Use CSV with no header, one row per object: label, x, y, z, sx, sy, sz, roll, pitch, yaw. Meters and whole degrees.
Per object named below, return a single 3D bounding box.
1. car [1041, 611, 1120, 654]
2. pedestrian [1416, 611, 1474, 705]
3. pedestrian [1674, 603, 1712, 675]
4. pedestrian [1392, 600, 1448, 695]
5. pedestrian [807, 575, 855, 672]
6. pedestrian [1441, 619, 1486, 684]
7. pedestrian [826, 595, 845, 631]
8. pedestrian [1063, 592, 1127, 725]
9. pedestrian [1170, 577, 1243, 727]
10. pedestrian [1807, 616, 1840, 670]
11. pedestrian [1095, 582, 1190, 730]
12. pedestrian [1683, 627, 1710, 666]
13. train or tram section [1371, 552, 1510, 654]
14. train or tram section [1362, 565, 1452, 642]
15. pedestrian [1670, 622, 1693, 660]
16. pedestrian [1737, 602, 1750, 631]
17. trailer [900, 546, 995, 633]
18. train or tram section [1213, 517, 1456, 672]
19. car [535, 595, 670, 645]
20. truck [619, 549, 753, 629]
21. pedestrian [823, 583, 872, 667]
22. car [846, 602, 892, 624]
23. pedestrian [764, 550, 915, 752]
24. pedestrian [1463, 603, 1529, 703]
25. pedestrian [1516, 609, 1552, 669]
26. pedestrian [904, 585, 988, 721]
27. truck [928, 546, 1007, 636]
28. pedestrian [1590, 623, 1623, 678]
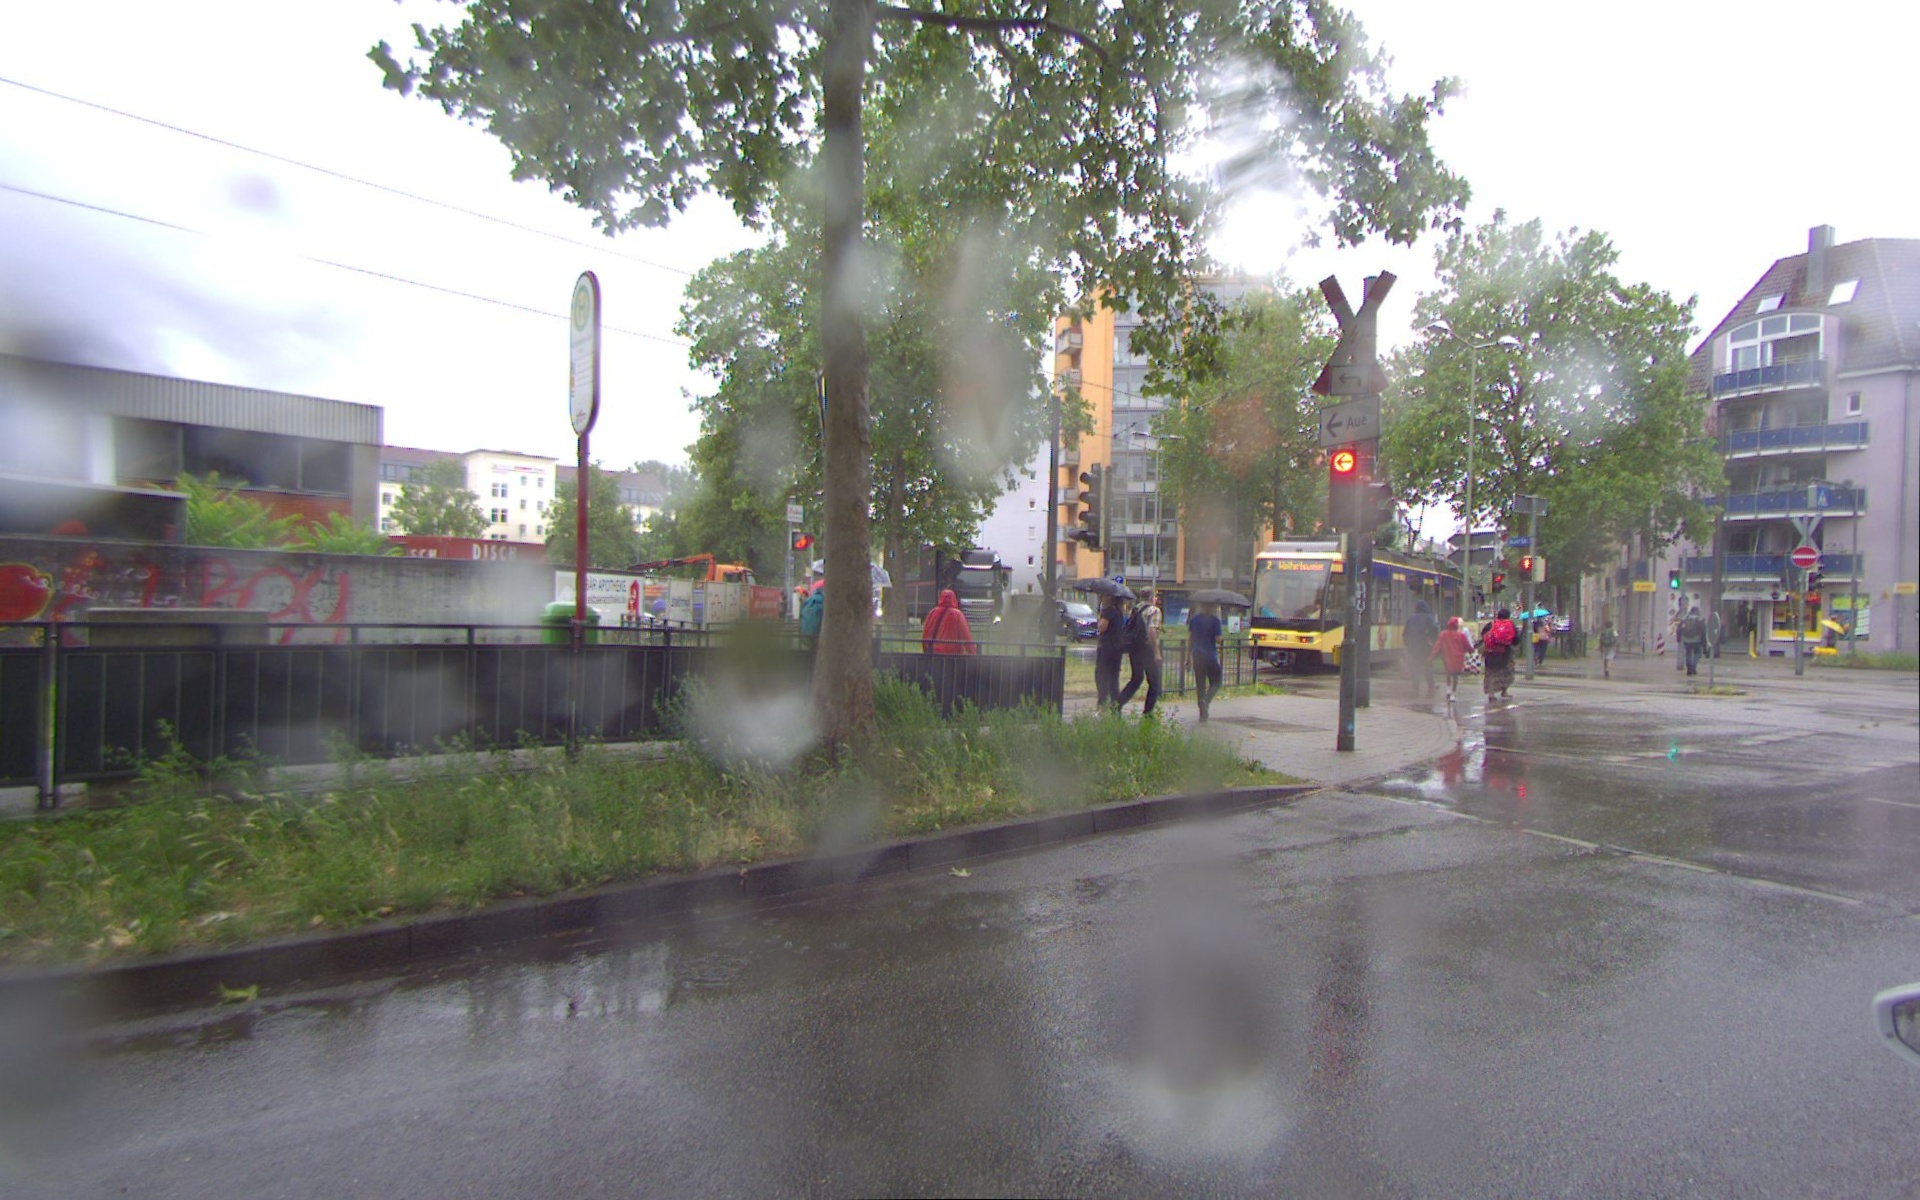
car,4.792,1.265,40.473,1.585,1.551,4.017,1,1,-19
pedestrian,8.277,0.974,17.133,0.654,1.540,0.676,1,0,-41
pedestrian,19.859,1.044,27.232,0.777,1.880,0.679,2,1,37
pedestrian,8.575,0.875,18.769,0.823,1.721,0.689,-2,0,17
pedestrian,-2.609,0.468,20.257,0.768,1.891,0.936,2,0,-18
pedestrian,10.905,1.101,21.748,0.704,1.367,0.650,1,1,-44
pedestrian,-6.696,0.689,54.050,0.765,1.891,0.940,2,0,4
pedestrian,1.798,0.766,13.358,0.782,1.705,0.660,-2,0,8
pedestrian,3.273,0.664,13.301,0.854,1.889,0.892,1,0,16
pedestrian,36.162,1.791,42.096,0.896,2.179,0.884,2,0,34
pedestrian,2.304,0.673,12.671,0.855,1.778,0.826,2,1,41
pedestrian,30.493,1.921,41.608,0.738,1.553,0.791,2,0,27
train or tram section,20.442,0.182,42.035,2.822,3.593,13.669,2,0,36
train or tram section,26.312,0.314,58.495,2.839,3.818,17.211,2,0,30
pedestrian,31.492,1.779,43.846,0.663,1.622,0.966,2,0,29
pedestrian,36.893,0.782,47.290,0.439,1.347,0.558,2,0,43
trailer,-0.827,-0.470,50.740,2.593,3.899,10.114,2,0,-13
train or tram section,11.919,-0.038,30.235,2.823,3.593,15.319,2,0,36
car,-10.433,0.573,29.395,3.447,1.323,1.405,2,0,10
truck,-11.840,-0.445,43.620,5.383,3.205,2.164,2,0,-16
pedestrian,-2.392,0.518,21.298,0.675,1.752,0.752,2,1,42
car,-8.264,1.163,90.928,3.930,1.808,1.996,2,0,-12
pedestrian,-1.186,0.472,9.932,0.971,1.851,1.071,-2,0,41
pedestrian,9.131,0.873,17.104,0.809,1.646,0.724,0,0,-37
pedestrian,17.952,1.203,31.412,0.943,1.789,0.951,2,0,31
pedestrian,-0.162,0.634,12.216,0.783,1.593,0.659,-2,0,24
truck,0.266,-0.394,46.050,2.593,3.842,4.444,2,0,-13
pedestrian,17.187,1.325,26.716,0.638,1.414,0.782,1,0,26
